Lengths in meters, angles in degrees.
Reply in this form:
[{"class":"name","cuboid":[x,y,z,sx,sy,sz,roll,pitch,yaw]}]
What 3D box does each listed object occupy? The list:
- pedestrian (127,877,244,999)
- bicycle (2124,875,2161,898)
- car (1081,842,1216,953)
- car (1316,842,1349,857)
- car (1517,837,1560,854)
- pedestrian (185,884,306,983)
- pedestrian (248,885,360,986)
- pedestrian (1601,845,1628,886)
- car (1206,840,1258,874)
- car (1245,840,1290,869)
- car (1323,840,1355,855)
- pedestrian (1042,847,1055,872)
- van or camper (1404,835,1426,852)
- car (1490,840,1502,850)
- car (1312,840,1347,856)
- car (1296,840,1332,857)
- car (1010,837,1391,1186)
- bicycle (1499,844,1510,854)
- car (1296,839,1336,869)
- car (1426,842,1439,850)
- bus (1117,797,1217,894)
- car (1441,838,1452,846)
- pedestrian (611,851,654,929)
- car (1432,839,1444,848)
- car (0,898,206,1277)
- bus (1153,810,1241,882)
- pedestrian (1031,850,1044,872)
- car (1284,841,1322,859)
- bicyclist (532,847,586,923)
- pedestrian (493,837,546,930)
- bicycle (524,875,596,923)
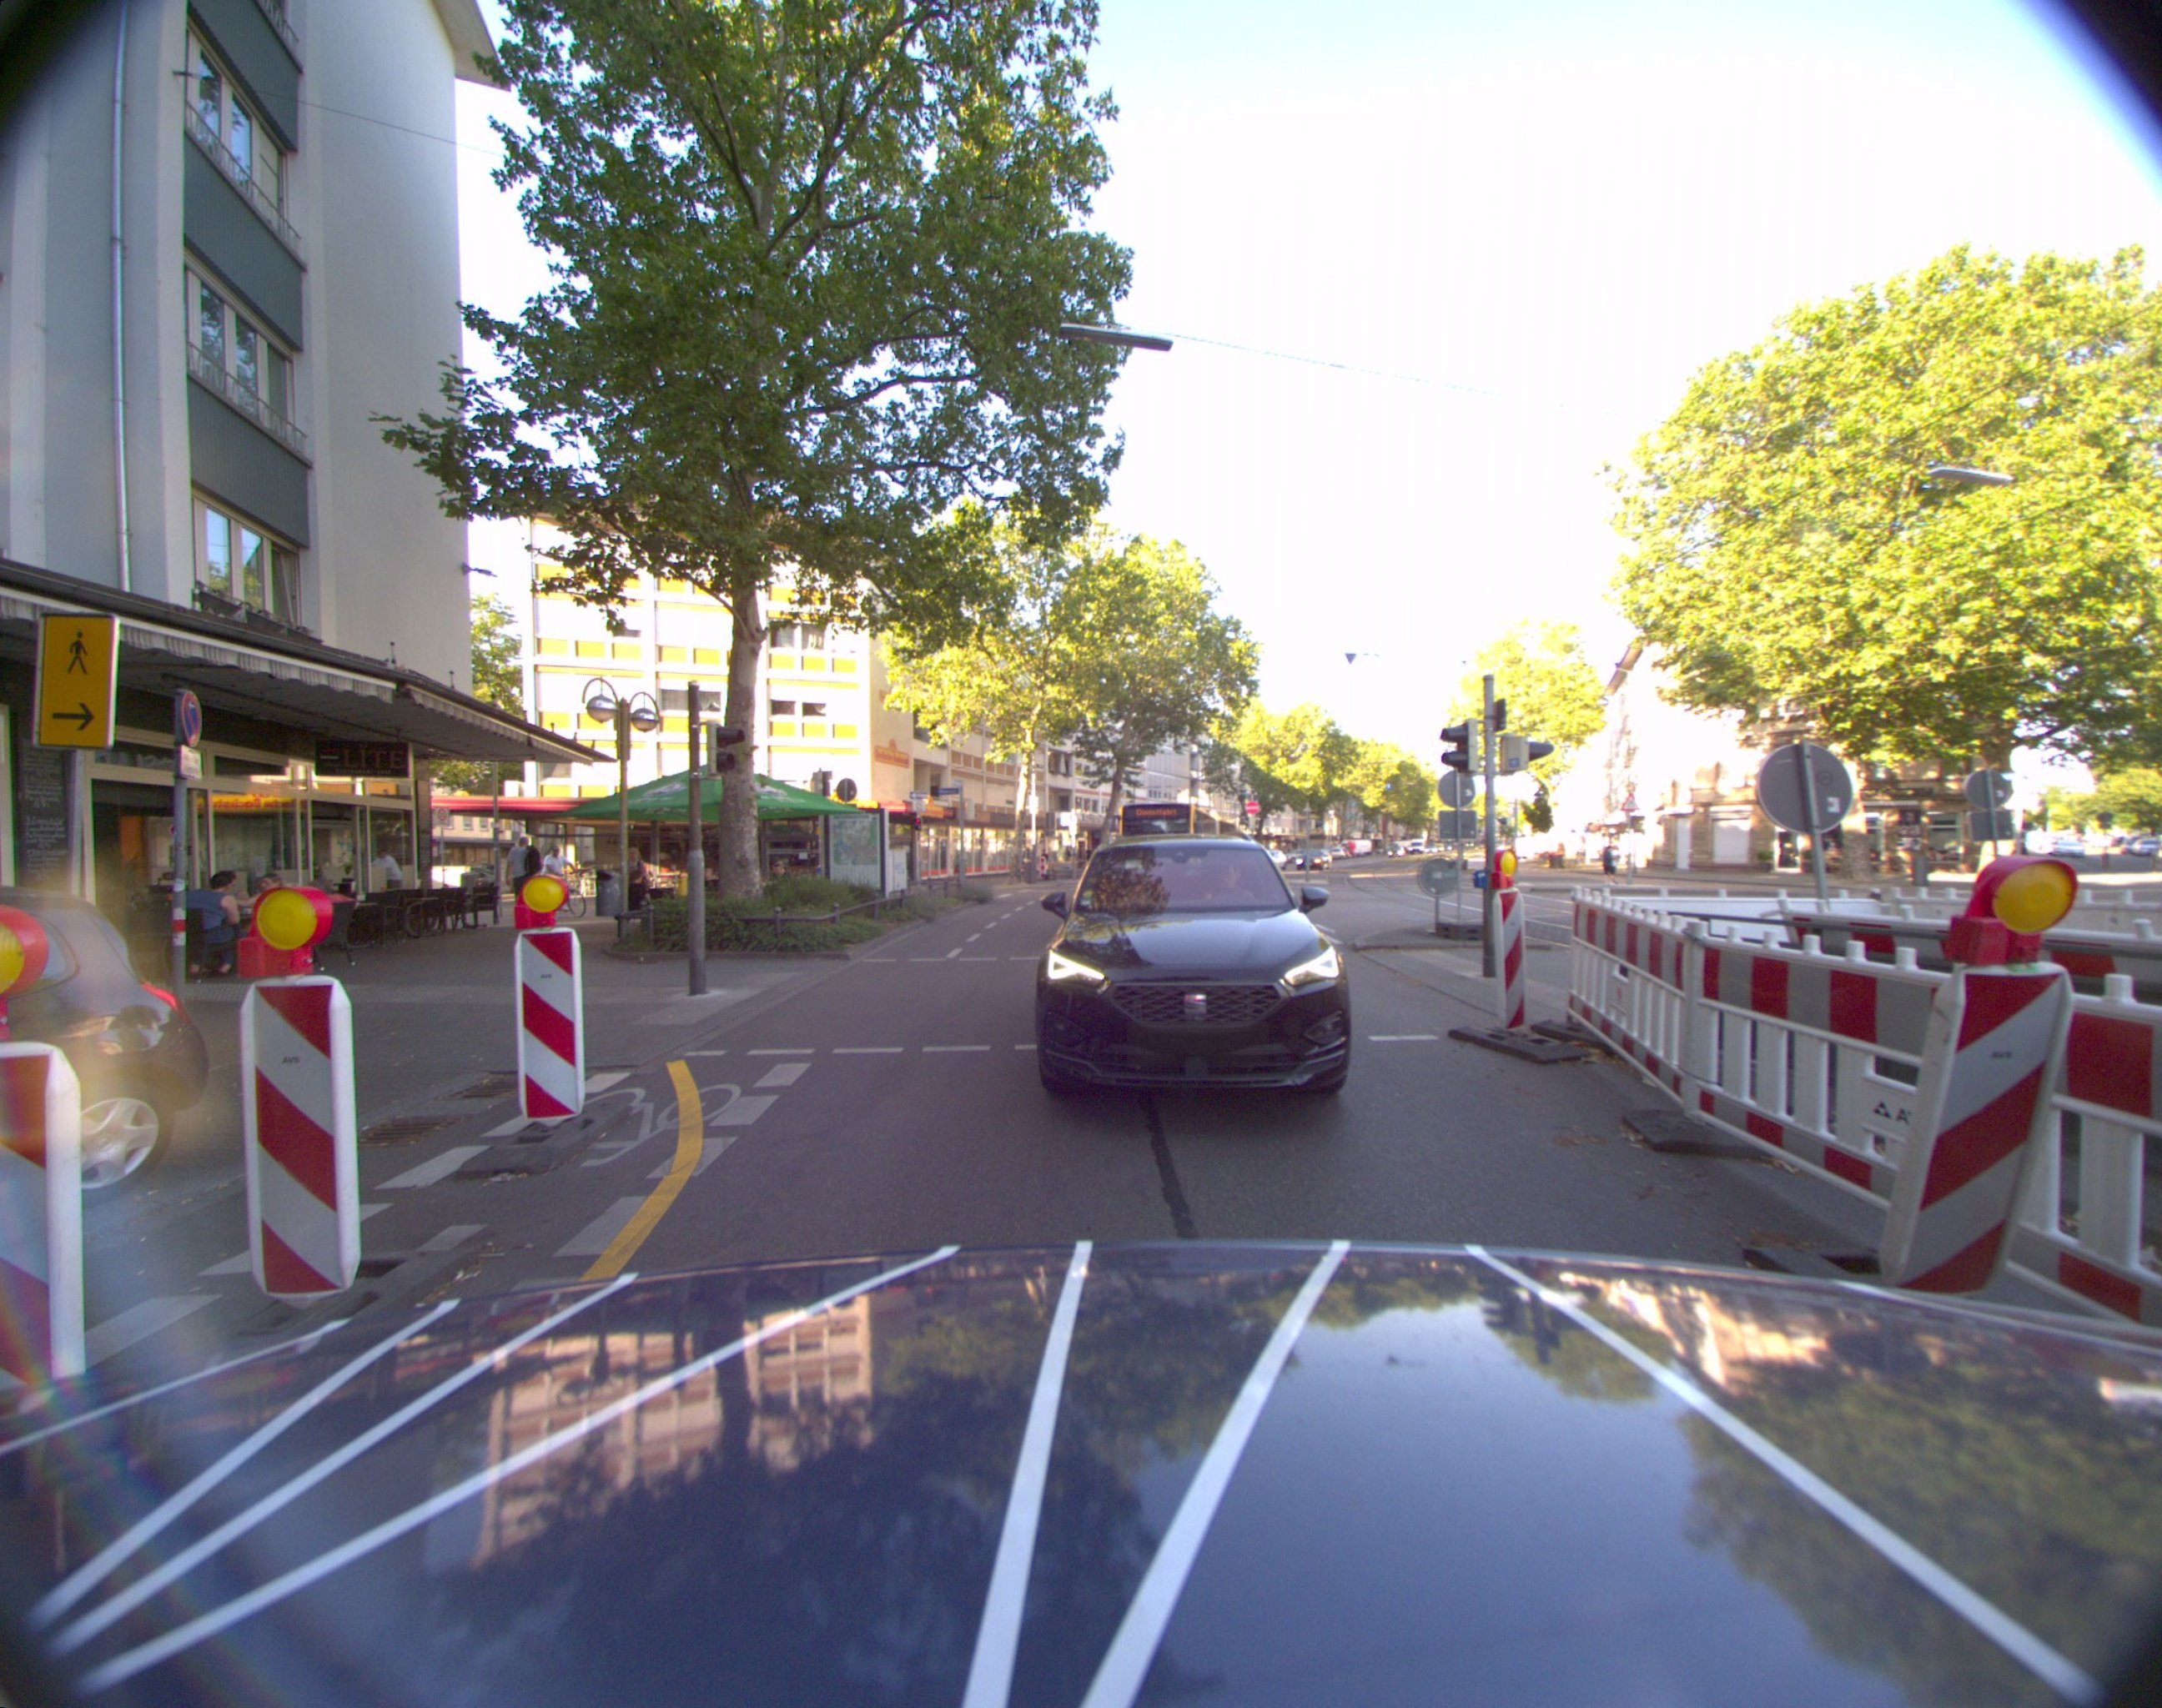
[{"class":"pedestrian","cuboid":[-10.324,0.933,8.767,0.789,1.299,0.701,0,1,28]},{"class":"bicycle","cuboid":[39.316,1.179,27.941,1.993,0.777,0.680,-1,1,-23]},{"class":"car","cuboid":[1.030,0.630,13.315,1.998,1.634,4.075,-1,1,1]},{"class":"car","cuboid":[34.389,-0.578,103.796,3.994,2.002,2.001,-1,1,8]},{"class":"car","cuboid":[52.460,-0.979,87.169,4.001,2.002,1.997,-1,1,-13]},{"class":"pedestrian","cuboid":[-10.717,0.998,9.774,0.647,1.186,0.792,0,1,7]},{"class":"pedestrian","cuboid":[-9.878,1.006,9.669,0.877,1.186,0.701,0,1,24]},{"class":"pedestrian","cuboid":[20.339,0.423,28.988,0.603,1.524,0.745,0,1,12]},{"class":"car","cuboid":[9.261,0.158,46.381,1.995,2.002,4.105,0,1,29]},{"class":"car","cuboid":[13.618,-0.005,55.336,1.994,2.002,4.008,0,1,33]},{"class":"car","cuboid":[36.571,-0.888,107.918,3.994,2.002,2.001,-1,1,8]},{"class":"pedestrian","cuboid":[-2.068,0.360,48.139,0.627,1.577,0.532,0,1,20]},{"class":"van or camper","cuboid":[54.307,-1.652,123.481,2.420,2.702,6.144,0,1,32]},{"class":"car","cuboid":[81.265,-1.805,148.921,1.994,2.002,4.007,0,1,29]},{"class":"car","cuboid":[32.348,-0.808,98.871,3.994,2.002,2.001,-1,1,8]},{"class":"car","cuboid":[28.478,-0.686,92.908,3.994,2.002,2.001,-1,1,8]},{"class":"car","cuboid":[0.615,0.753,5.698,1.841,1.696,4.000,-1,1,1]},{"class":"bicycle","cuboid":[48.476,-0.588,86.938,0.850,1.186,2.469,0,1,23]},{"class":"car","cuboid":[16.622,-0.033,53.565,1.995,2.002,4.007,0,1,27]},{"class":"car","cuboid":[64.754,-1.407,139.881,1.700,1.462,3.771,0,1,31]},{"class":"bus","cuboid":[3.513,-0.308,28.696,2.718,3.088,8.629,0,1,13]},{"class":"car","cuboid":[84.298,-2.767,175.193,1.836,1.792,4.138,0,1,31]},{"class":"pedestrian","cuboid":[-9.564,0.758,16.222,0.629,1.628,0.531,-1,1,-15]},{"class":"car","cuboid":[72.936,-2.124,155.275,1.836,1.792,4.138,0,1,31]},{"class":"car","cuboid":[-5.215,0.967,1.960,1.771,1.459,3.610,2,1,-2]},{"class":"bus","cuboid":[5.885,-0.397,37.079,2.717,3.088,8.608,0,1,19]},{"class":"pedestrian","cuboid":[-2.790,0.434,48.415,0.627,1.429,0.532,0,1,20]},{"class":"car","cuboid":[24.893,-0.466,85.300,3.991,2.002,2.003,0,1,18]},{"class":"bicyclist","cuboid":[-12.904,0.735,18.778,0.923,1.816,0.755,0,1,32]},{"class":"pedestrian","cuboid":[-12.143,0.621,16.468,0.649,1.948,0.888,-1,1,-20]},{"class":"bicycle","cuboid":[-12.891,1.098,18.788,1.881,1.123,0.753,-2,0,32]}]
